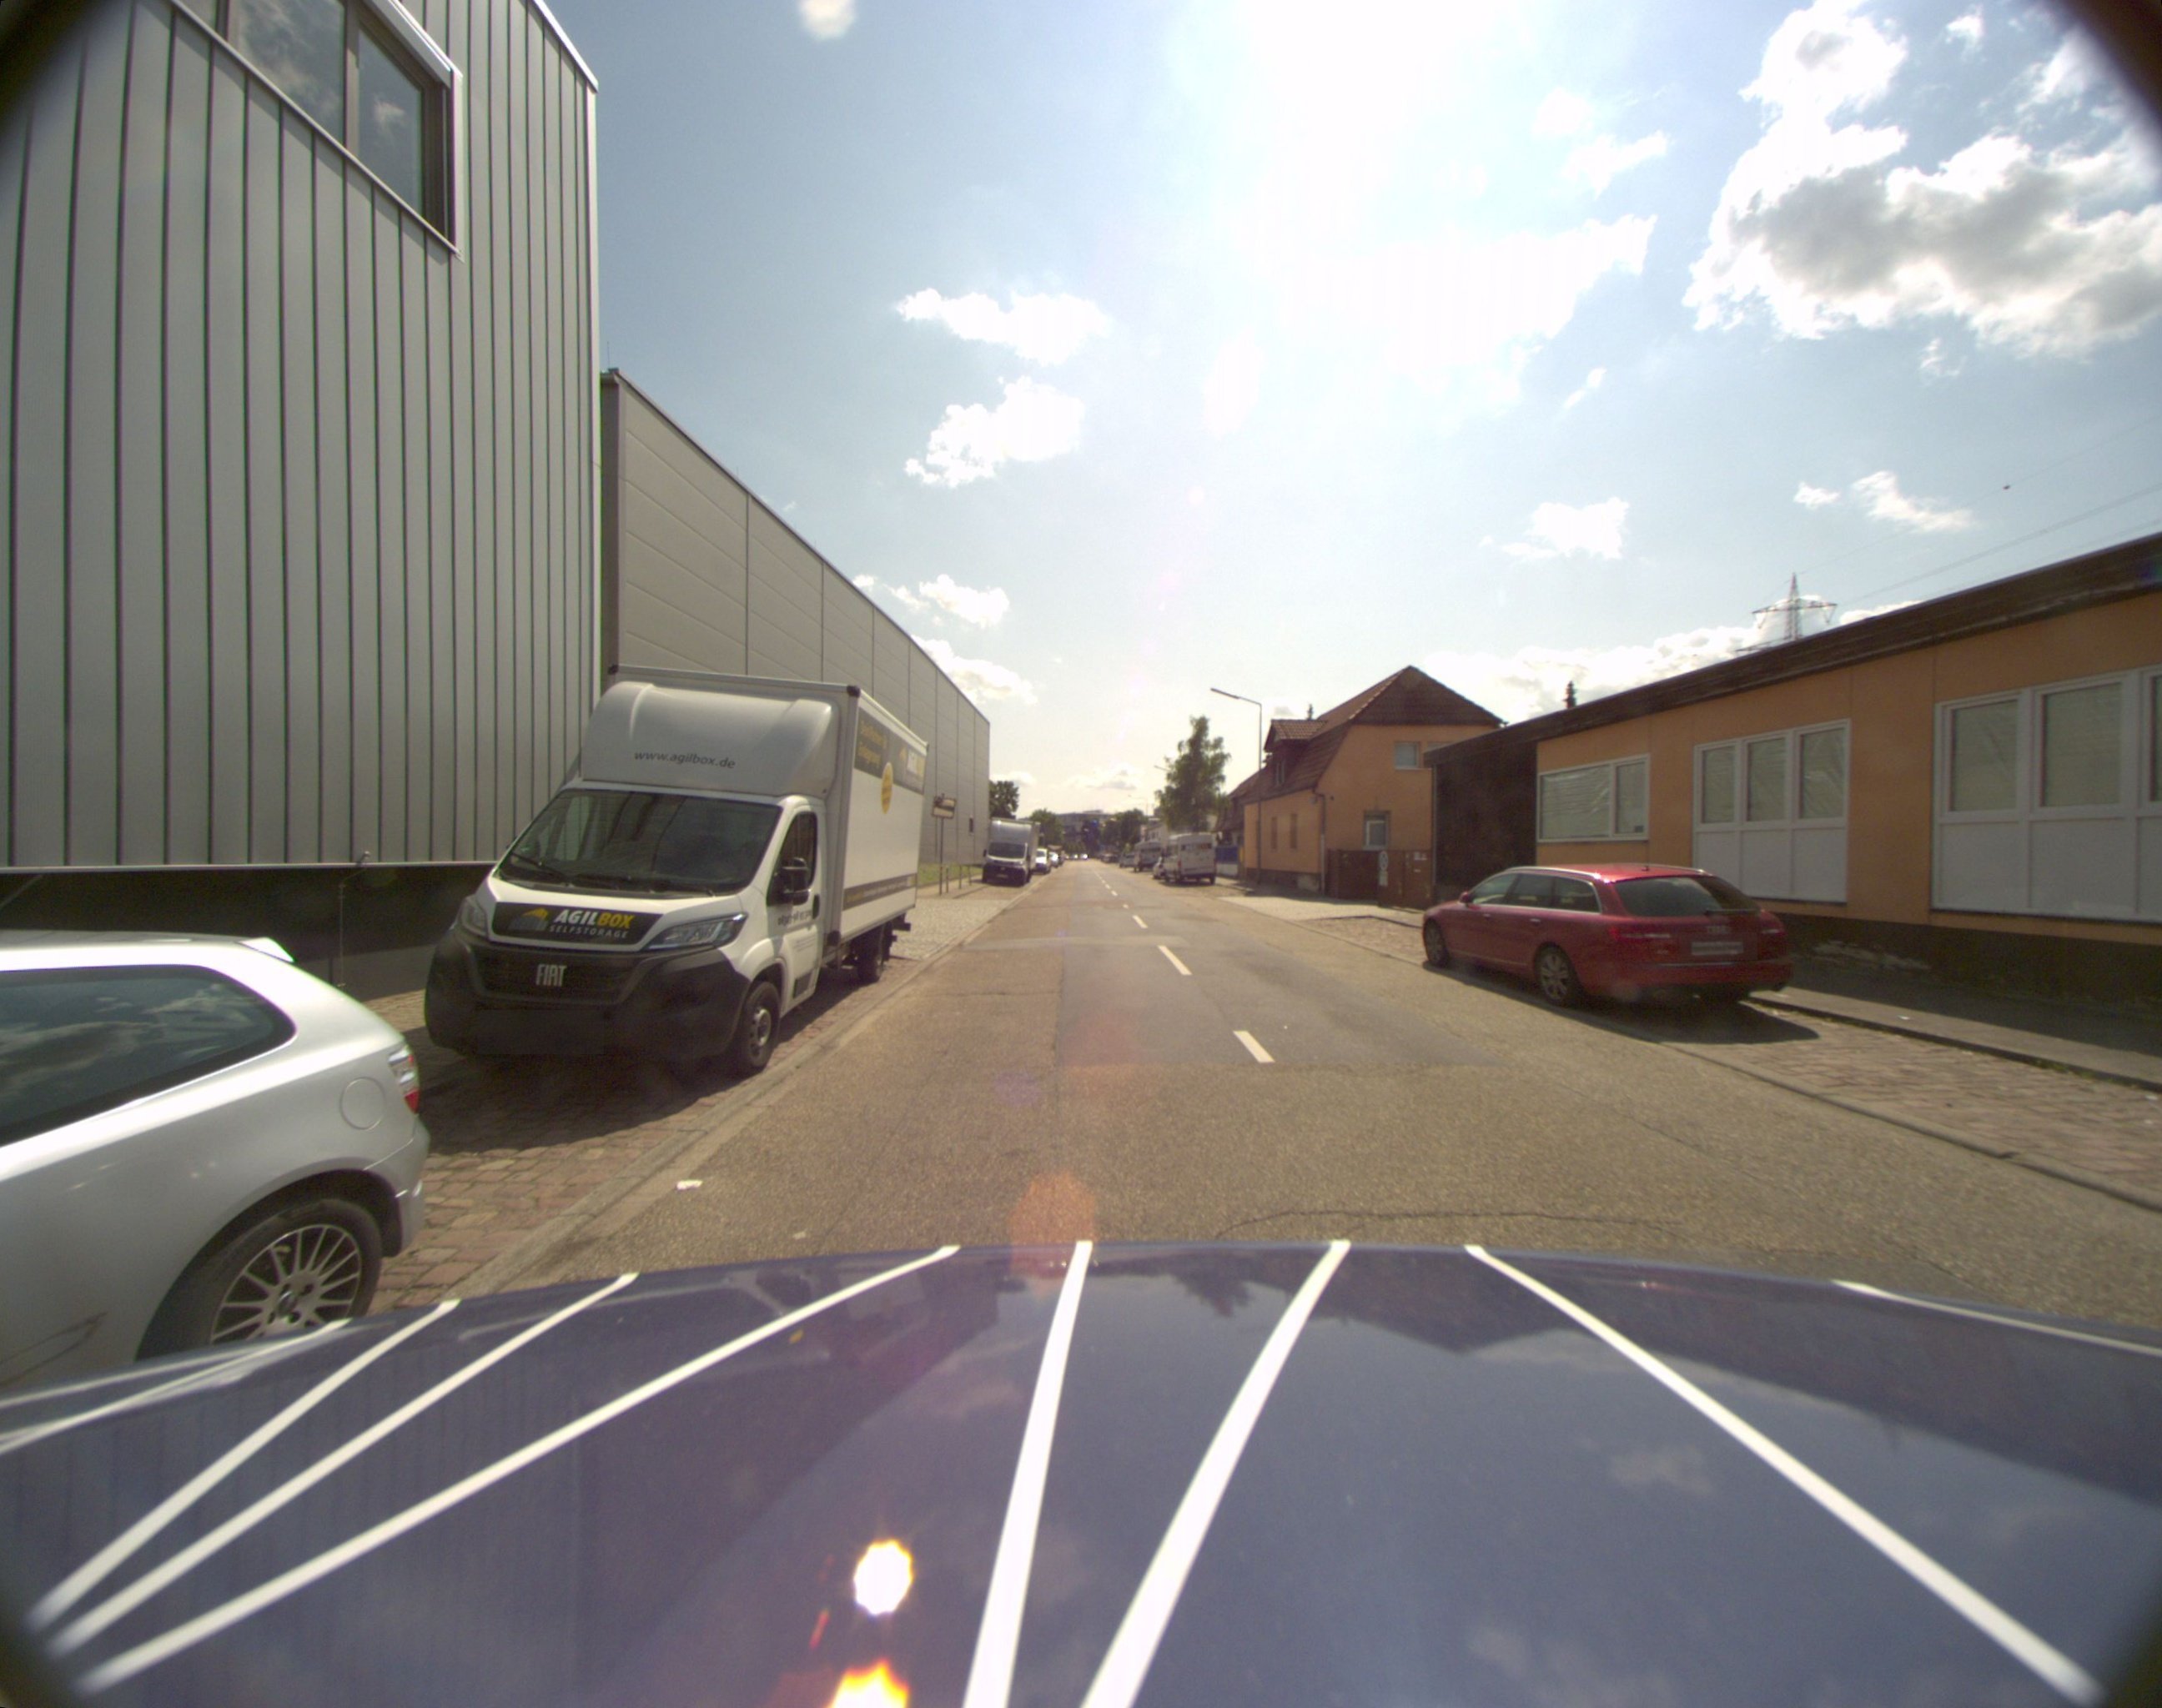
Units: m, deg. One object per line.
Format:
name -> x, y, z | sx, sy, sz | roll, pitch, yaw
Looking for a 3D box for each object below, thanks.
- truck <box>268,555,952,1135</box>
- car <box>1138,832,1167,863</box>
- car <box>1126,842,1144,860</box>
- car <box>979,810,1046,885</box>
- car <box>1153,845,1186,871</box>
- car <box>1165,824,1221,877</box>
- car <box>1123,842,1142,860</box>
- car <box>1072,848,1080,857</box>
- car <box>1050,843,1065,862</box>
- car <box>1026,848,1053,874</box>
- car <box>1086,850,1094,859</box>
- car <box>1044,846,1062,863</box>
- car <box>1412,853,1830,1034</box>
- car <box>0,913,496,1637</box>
truck -> -3.327, -0.115, 8.373 | 2.607, 3.207, 8.074 | -2, 1, -2
car -> 6.260, -0.560, 67.385 | 1.998, 2.556, 5.823 | -2, 1, 1
car -> 5.861, -0.386, 82.548 | 1.658, 1.860, 3.926 | -2, 1, 0
car -> -3.375, -0.371, 39.161 | 2.418, 3.270, 6.897 | 6, 1, 0
car -> 5.555, 0.232, 47.999 | 1.658, 1.483, 3.715 | -2, 1, 1
car -> 5.855, -0.221, 40.370 | 2.079, 2.527, 5.823 | -2, 1, 1
car -> 6.068, -0.391, 90.068 | 1.998, 2.002, 3.999 | -2, 1, 1
car -> -1.243, -0.382, 181.581 | 1.828, 2.082, 4.109 | -2, 1, 0
car -> -3.128, -0.223, 101.602 | 1.828, 2.366, 4.109 | -2, 1, 0
car -> -3.031, 0.508, 56.197 | 1.658, 1.765, 3.926 | -2, 1, 1
car -> 2.172, 0.089, 187.853 | 1.828, 2.111, 4.109 | -2, 1, 0
car -> -3.047, 0.029, 82.896 | 1.658, 1.765, 3.926 | -2, 1, 0
car -> 5.747, 0.788, 8.976 | 1.714, 1.459, 4.629 | -2, 1, 2
car -> -3.201, 1.009, 0.839 | 1.714, 1.425, 4.256 | -2, 1, 1
